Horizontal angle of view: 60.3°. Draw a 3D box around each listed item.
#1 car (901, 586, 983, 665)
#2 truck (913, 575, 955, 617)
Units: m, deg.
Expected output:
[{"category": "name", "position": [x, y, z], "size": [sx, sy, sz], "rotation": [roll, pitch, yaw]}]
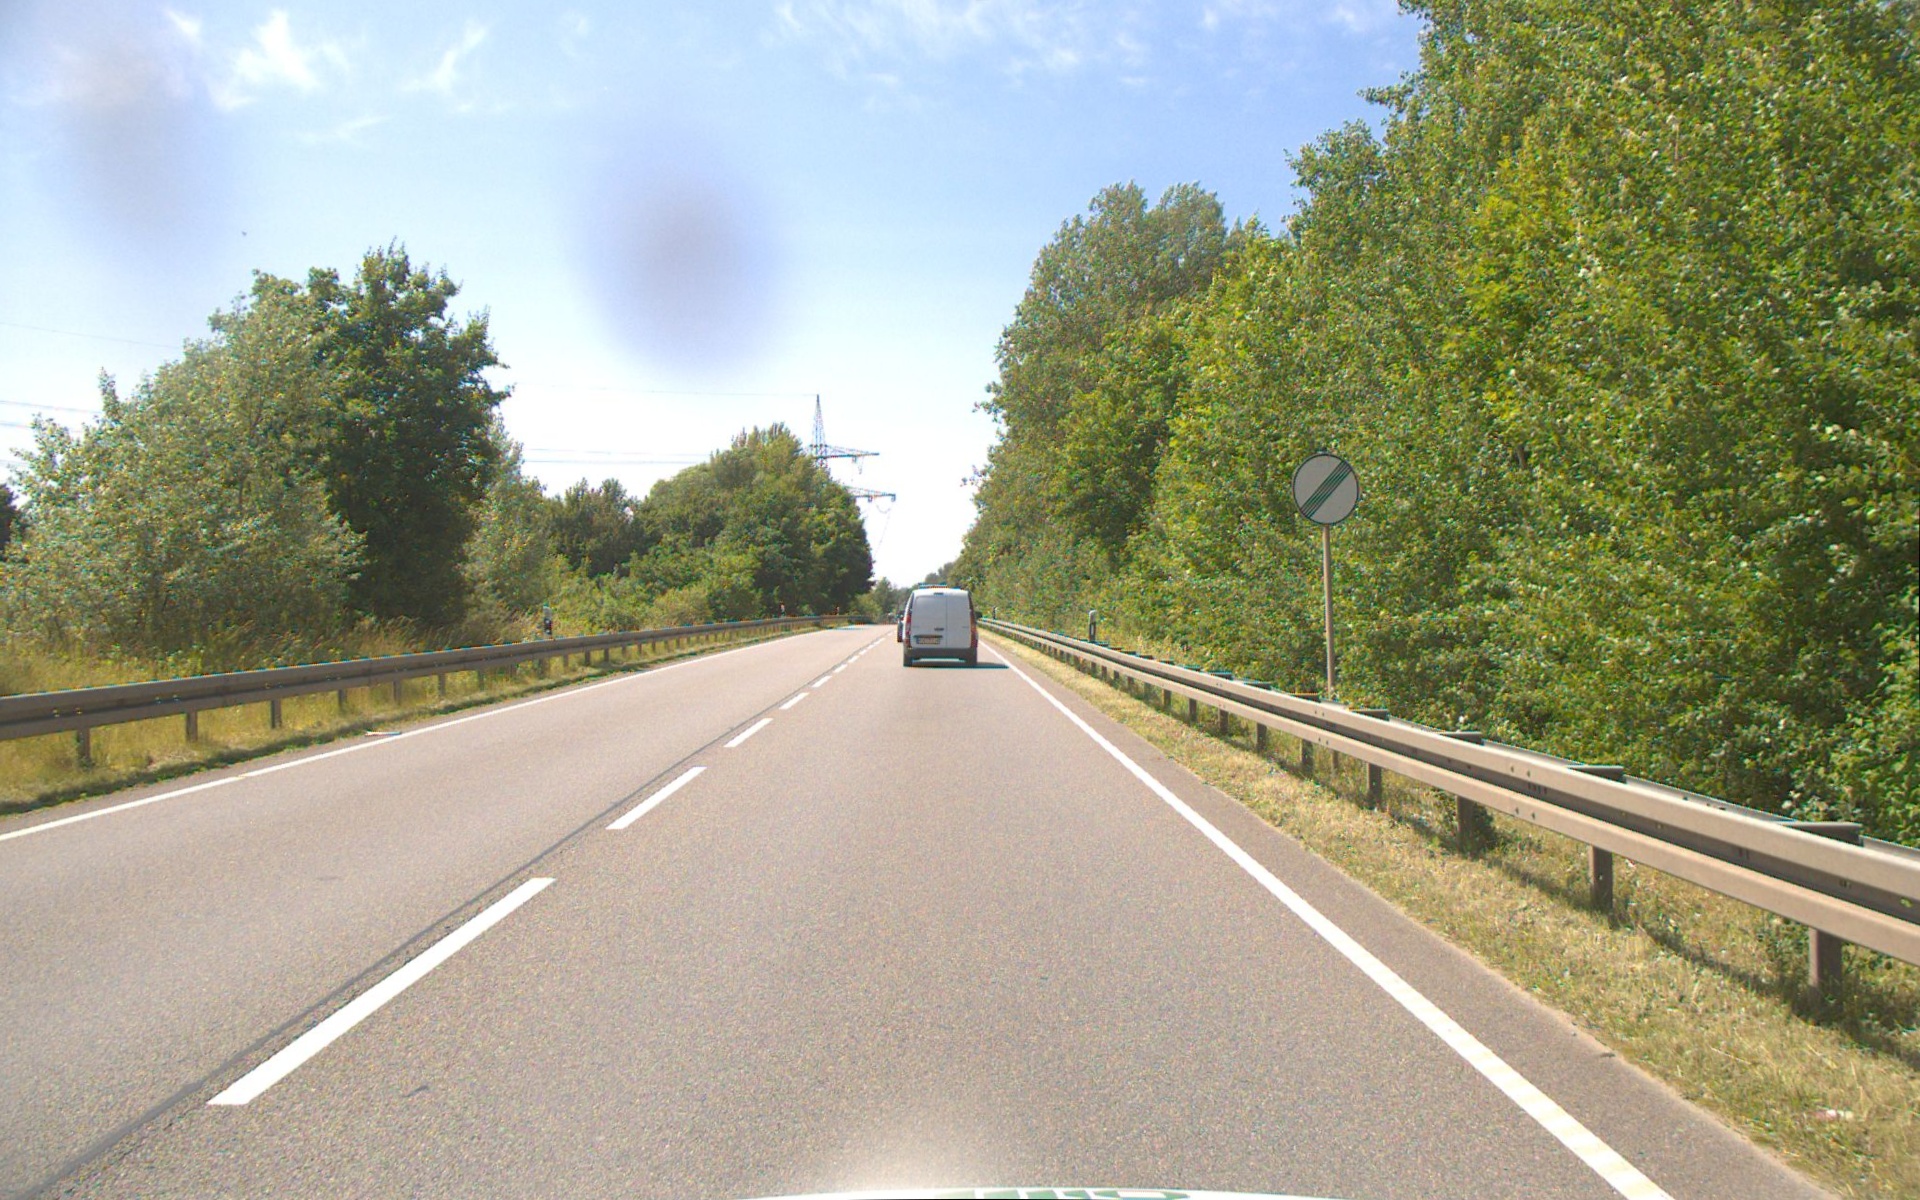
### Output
[{"category": "car", "position": [-0.462, 0.578, 39.463], "size": [1.837, 1.772, 3.999], "rotation": [1, 0, -1]}, {"category": "truck", "position": [-2.077, -0.314, 136.912], "size": [3.229, 3.227, 14.402], "rotation": [2, 0, 0]}]
